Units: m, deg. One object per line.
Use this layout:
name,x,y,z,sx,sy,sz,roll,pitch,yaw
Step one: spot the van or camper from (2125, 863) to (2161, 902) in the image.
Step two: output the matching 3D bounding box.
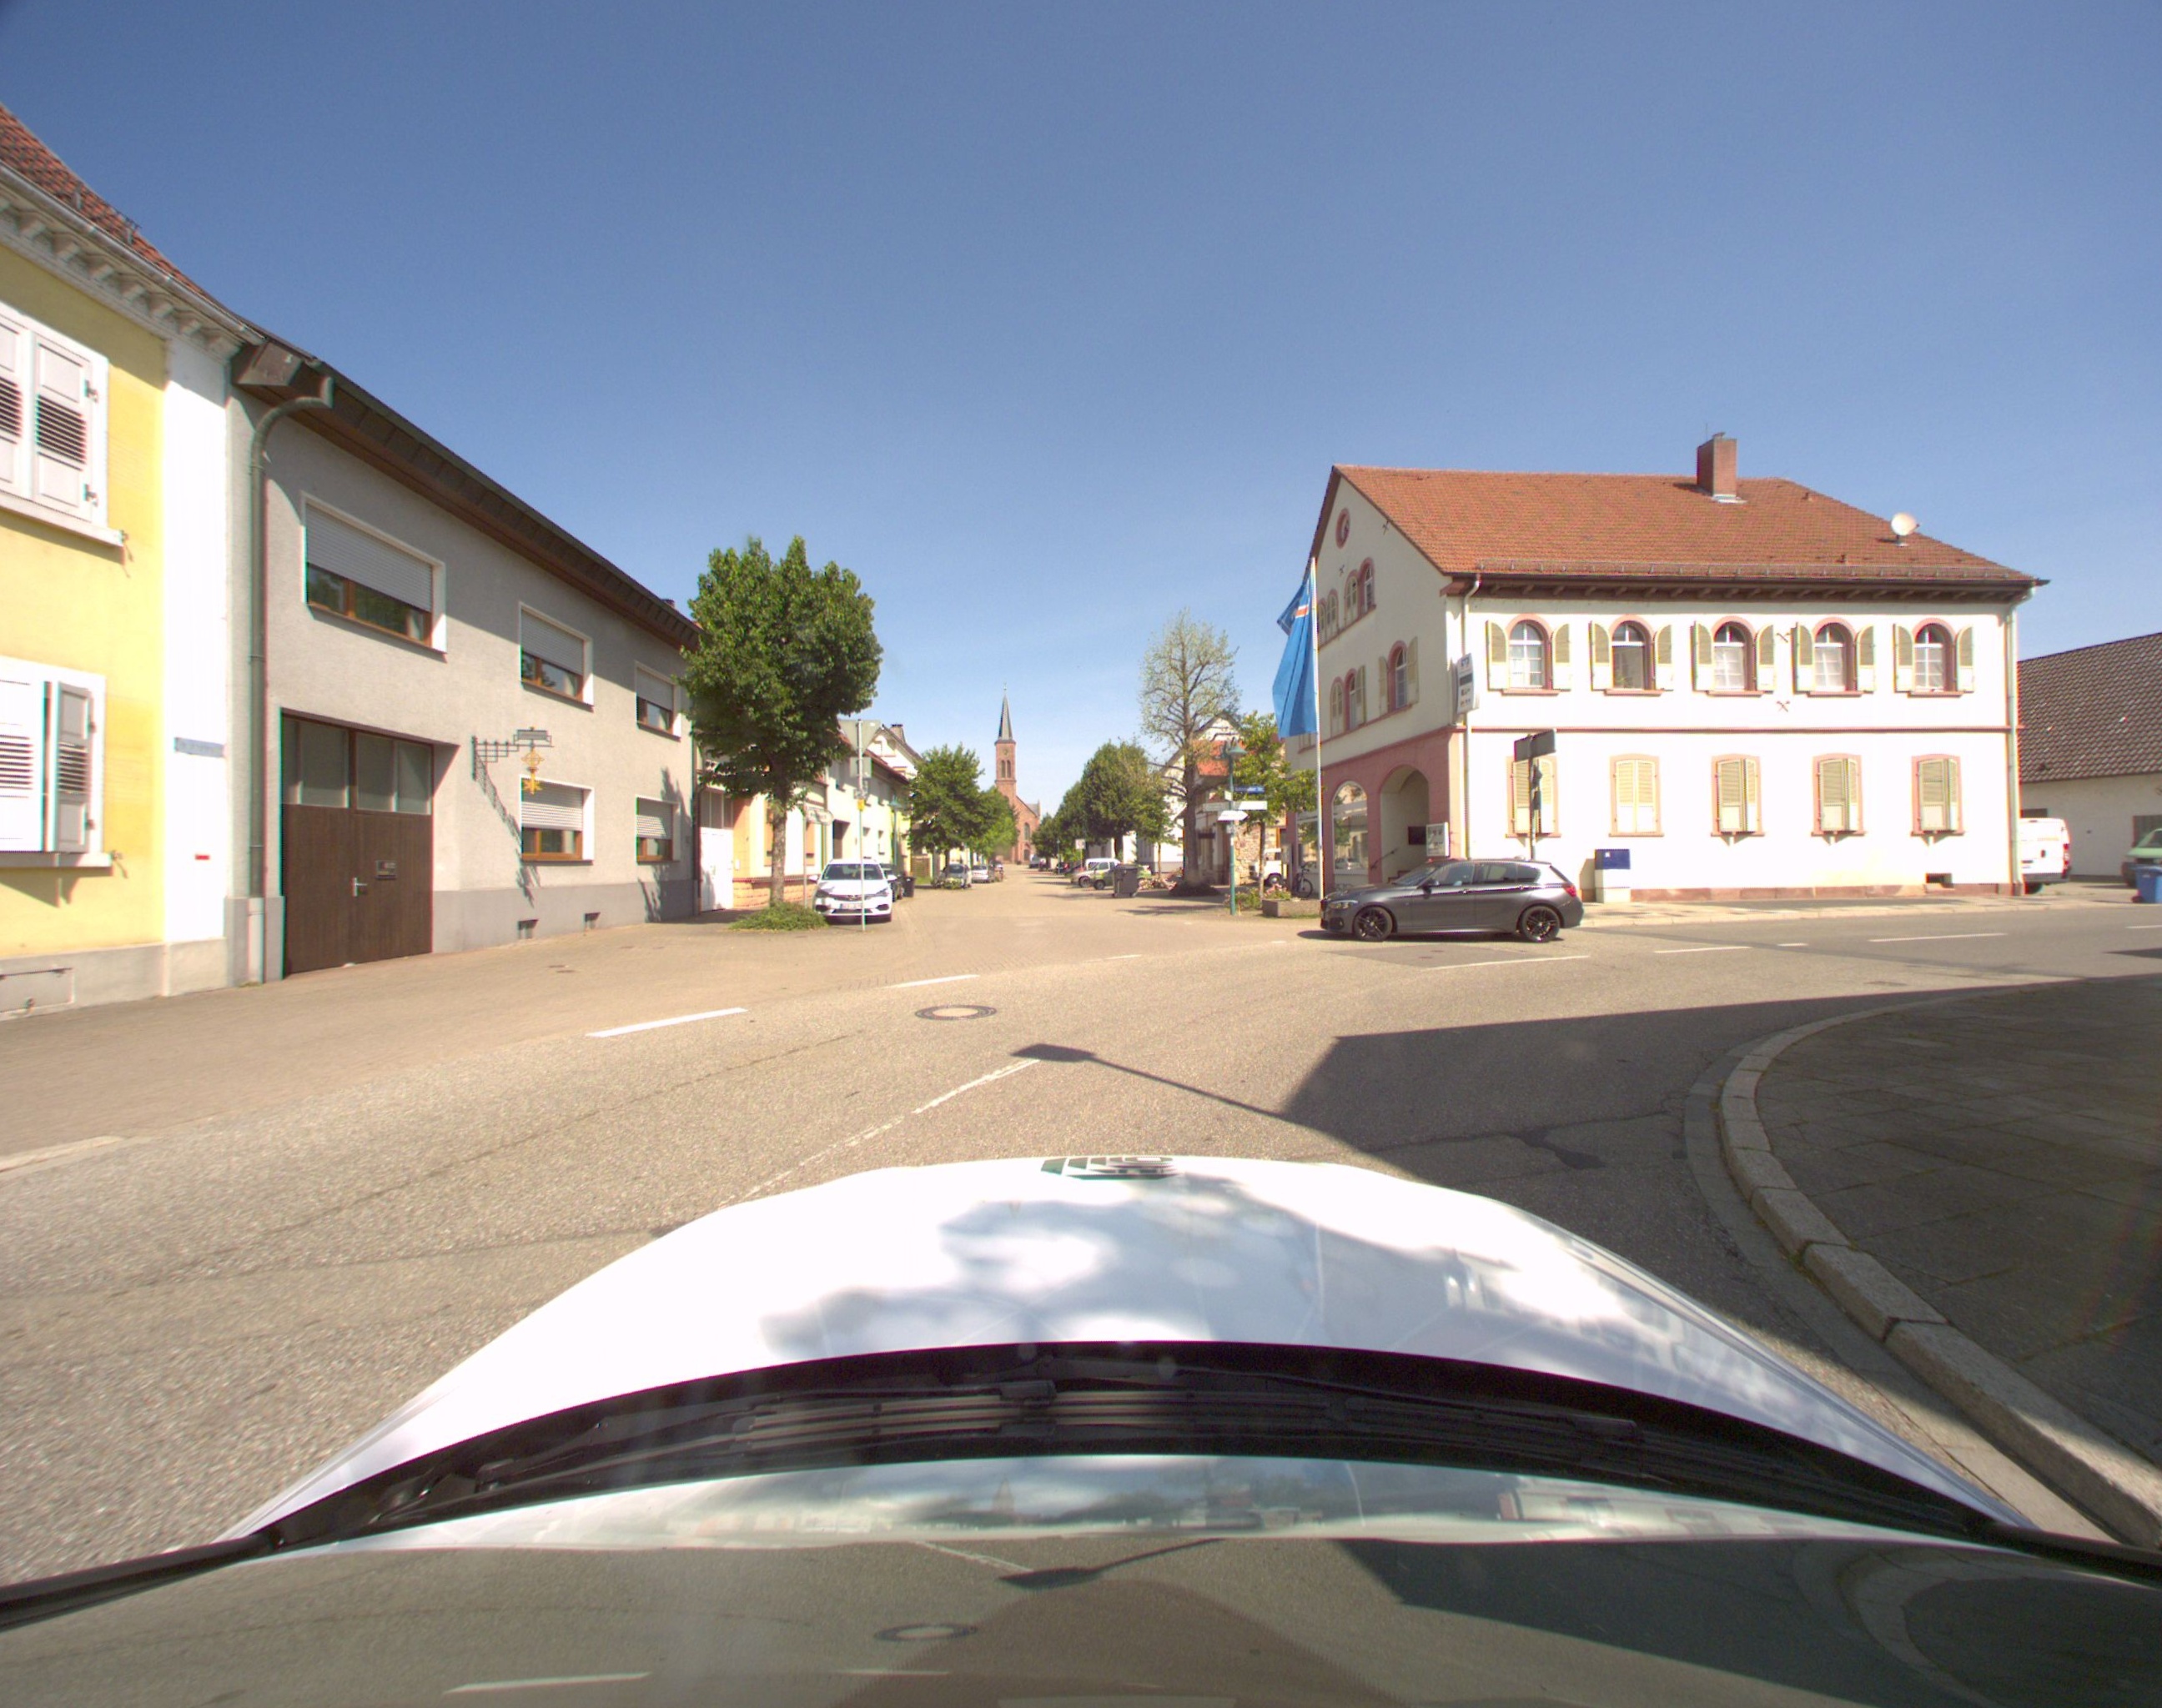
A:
van or camper,27.017,0.700,20.558,0.598,0.951,0.590,-1,0,-7

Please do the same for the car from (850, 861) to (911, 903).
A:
car,-7.776,1.031,31.964,1.985,1.440,5.191,-1,0,-11

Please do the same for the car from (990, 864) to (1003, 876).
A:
car,-13.852,2.577,133.995,1.992,1.816,3.989,-1,0,-8

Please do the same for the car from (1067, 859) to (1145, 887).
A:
car,1.559,1.201,51.980,4.795,1.623,1.997,-1,0,-5

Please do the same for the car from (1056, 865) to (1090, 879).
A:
car,-1.024,2.202,101.251,3.982,1.618,1.996,-1,0,-7

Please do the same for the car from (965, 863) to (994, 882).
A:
car,-7.968,1.416,63.757,1.994,1.464,3.985,0,0,-11

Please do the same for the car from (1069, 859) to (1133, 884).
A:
car,1.349,1.145,55.082,4.143,1.568,1.997,-1,0,-5

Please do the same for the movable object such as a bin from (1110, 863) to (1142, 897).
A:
movable object such as a bin,1.791,1.023,32.584,1.184,1.338,0.789,-1,-1,-1

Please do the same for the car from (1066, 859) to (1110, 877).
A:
car,0.627,1.326,77.699,3.980,1.640,1.997,-1,0,-5

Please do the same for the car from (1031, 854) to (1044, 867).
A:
car,-8.079,1.274,150.443,2.240,2.279,4.496,1,-1,-4

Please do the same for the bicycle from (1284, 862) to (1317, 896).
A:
bicycle,7.542,0.841,28.032,0.591,1.136,1.747,-1,0,-1

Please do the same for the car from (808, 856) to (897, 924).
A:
car,-5.600,0.798,20.053,1.853,1.440,4.489,-1,0,-16

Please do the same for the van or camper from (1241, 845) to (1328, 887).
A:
van or camper,10.311,0.598,41.484,3.969,2.014,2.002,-1,0,4

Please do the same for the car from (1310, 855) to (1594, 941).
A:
car,6.384,0.740,14.420,4.233,1.376,1.745,-1,0,6

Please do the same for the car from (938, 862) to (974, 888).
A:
car,-8.007,1.311,52.408,1.991,1.574,3.992,-1,0,-6

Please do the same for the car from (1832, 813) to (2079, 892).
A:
car,27.106,-0.052,25.607,2.110,2.196,5.188,-1,0,-2

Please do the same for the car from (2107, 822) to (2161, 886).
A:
car,35.098,-0.031,25.389,4.657,1.964,1.992,-1,0,-12

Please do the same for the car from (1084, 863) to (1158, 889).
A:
car,2.182,1.197,45.595,3.917,1.344,1.997,-1,0,-5
